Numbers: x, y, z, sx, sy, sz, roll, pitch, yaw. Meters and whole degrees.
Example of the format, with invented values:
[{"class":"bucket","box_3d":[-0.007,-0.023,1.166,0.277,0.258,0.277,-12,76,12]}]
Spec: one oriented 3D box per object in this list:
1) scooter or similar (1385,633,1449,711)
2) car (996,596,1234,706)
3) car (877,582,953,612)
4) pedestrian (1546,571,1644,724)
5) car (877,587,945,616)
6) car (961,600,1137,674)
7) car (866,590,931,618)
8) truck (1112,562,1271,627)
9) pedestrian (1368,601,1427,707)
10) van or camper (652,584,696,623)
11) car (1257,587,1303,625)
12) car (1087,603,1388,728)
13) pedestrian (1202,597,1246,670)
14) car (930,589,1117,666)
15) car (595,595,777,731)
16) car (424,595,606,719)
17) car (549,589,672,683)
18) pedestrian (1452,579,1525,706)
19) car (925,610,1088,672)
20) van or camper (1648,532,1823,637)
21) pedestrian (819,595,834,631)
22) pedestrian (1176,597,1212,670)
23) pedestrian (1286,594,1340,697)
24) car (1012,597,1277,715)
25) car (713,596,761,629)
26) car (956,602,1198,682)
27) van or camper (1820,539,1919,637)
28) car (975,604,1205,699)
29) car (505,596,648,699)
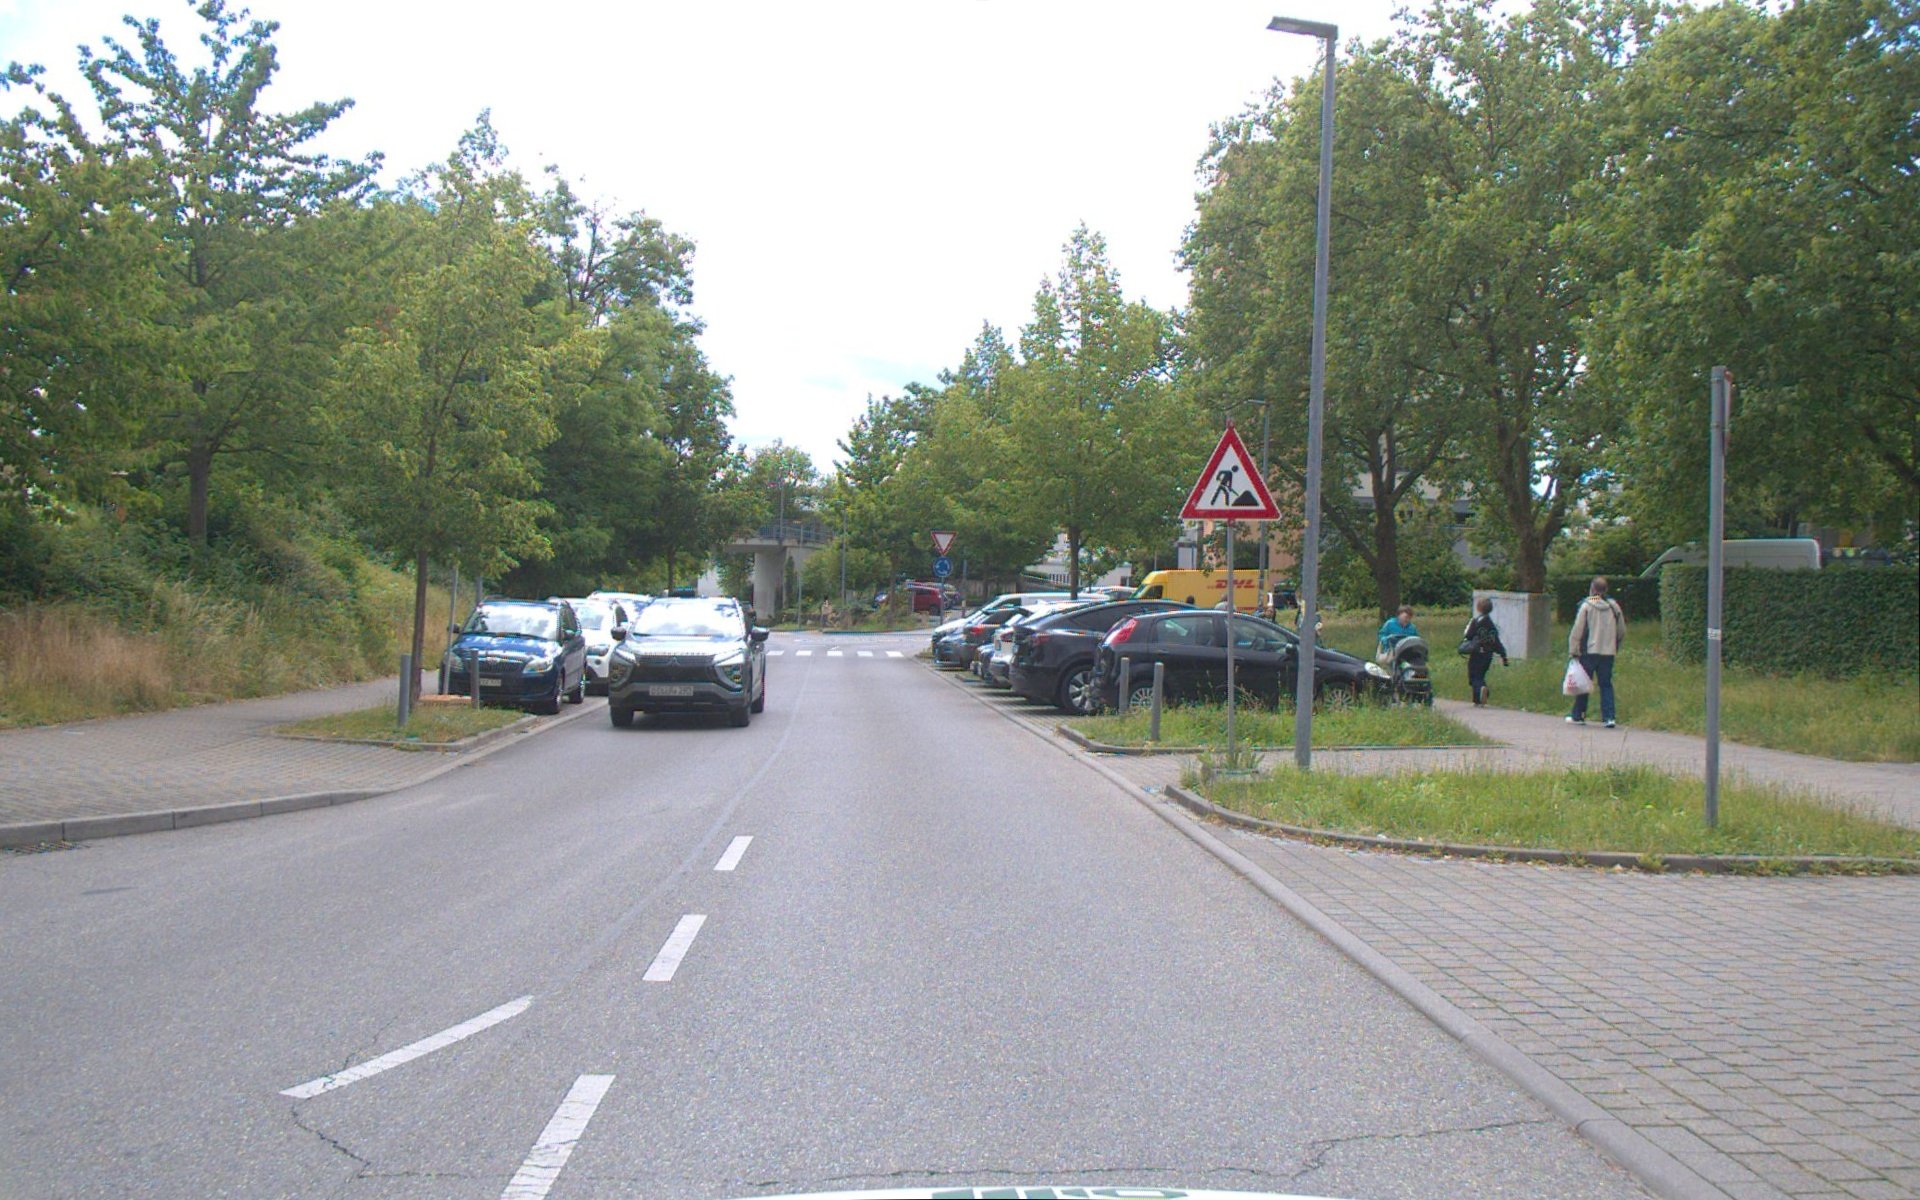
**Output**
[{"class":"scooter or similar","box_3d":[6.358,0.994,23.043,0.568,1.041,0.943,1,0,-4]},{"class":"car","box_3d":[2.428,0.798,26.559,3.596,1.675,1.851,1,0,-2]},{"class":"car","box_3d":[-2.697,-0.187,99.677,4.451,1.697,1.944,1,0,-1]},{"class":"pedestrian","box_3d":[7.799,0.567,20.340,0.814,1.824,0.877,1,0,-4]},{"class":"car","box_3d":[-2.629,0.070,89.555,3.574,1.464,1.684,1,0,1]},{"class":"car","box_3d":[1.983,0.817,37.564,3.750,1.546,1.909,-1,0,-5]},{"class":"car","box_3d":[-3.509,0.236,94.623,3.574,1.524,1.684,1,0,1]},{"class":"truck","box_3d":[10.259,-0.279,73.641,6.668,2.749,2.473,0,2,-4]},{"class":"pedestrian","box_3d":[6.310,0.765,23.884,0.606,1.494,0.735,1,0,-4]},{"class":"van or camper","box_3d":[-19.878,0.262,114.747,1.965,2.567,5.436,-2,-1,-21]},{"class":"car","box_3d":[15.080,0.280,78.086,1.535,1.688,3.778,-1,0,2]},{"class":"car","box_3d":[3.537,0.825,21.494,3.596,1.524,1.645,1,0,-2]},{"class":"pedestrian","box_3d":[6.189,0.778,38.808,0.852,1.686,0.592,1,0,-6]},{"class":"car","box_3d":[1.608,0.704,43.078,4.679,1.864,1.841,-1,0,-4]},{"class":"car","box_3d":[-3.590,0.774,22.382,1.858,1.610,4.166,2,0,-2]},{"class":"car","box_3d":[-6.255,0.745,23.661,1.656,1.513,3.950,4,0,-4]},{"class":"car","box_3d":[-7.108,0.687,34.087,1.772,1.693,4.433,4,0,-4]},{"class":"pedestrian","box_3d":[7.765,0.612,24.328,0.725,1.824,0.877,1,0,-4]},{"class":"car","box_3d":[1.088,0.979,40.095,3.750,1.395,1.841,-1,0,-5]},{"class":"van or camper","box_3d":[21.956,-0.465,46.887,4.379,2.847,2.113,1,0,27]},{"class":"pedestrian","box_3d":[-6.540,0.624,81.094,0.644,1.752,0.739,1,0,-2]},{"class":"pedestrian","box_3d":[5.473,0.780,38.705,0.675,1.686,0.599,1,0,-6]},{"class":"pedestrian","box_3d":[6.404,0.812,30.031,0.725,1.824,0.877,1,0,-4]},{"class":"car","box_3d":[2.597,0.785,23.783,3.596,1.602,1.592,1,0,-2]},{"class":"car","box_3d":[-13.274,0.746,98.114,1.788,1.708,4.340,0,-4,-22]},{"class":"car","box_3d":[2.269,0.818,32.818,4.490,1.518,1.948,0,-1,-9]},{"class":"van or camper","box_3d":[28.075,-0.351,49.061,4.386,2.847,2.109,1,0,33]},{"class":"car","box_3d":[2.264,0.897,29.298,3.904,1.546,1.884,1,-1,2]},{"class":"car","box_3d":[-6.539,0.751,28.591,1.657,1.537,4.227,4,0,-4]}]
